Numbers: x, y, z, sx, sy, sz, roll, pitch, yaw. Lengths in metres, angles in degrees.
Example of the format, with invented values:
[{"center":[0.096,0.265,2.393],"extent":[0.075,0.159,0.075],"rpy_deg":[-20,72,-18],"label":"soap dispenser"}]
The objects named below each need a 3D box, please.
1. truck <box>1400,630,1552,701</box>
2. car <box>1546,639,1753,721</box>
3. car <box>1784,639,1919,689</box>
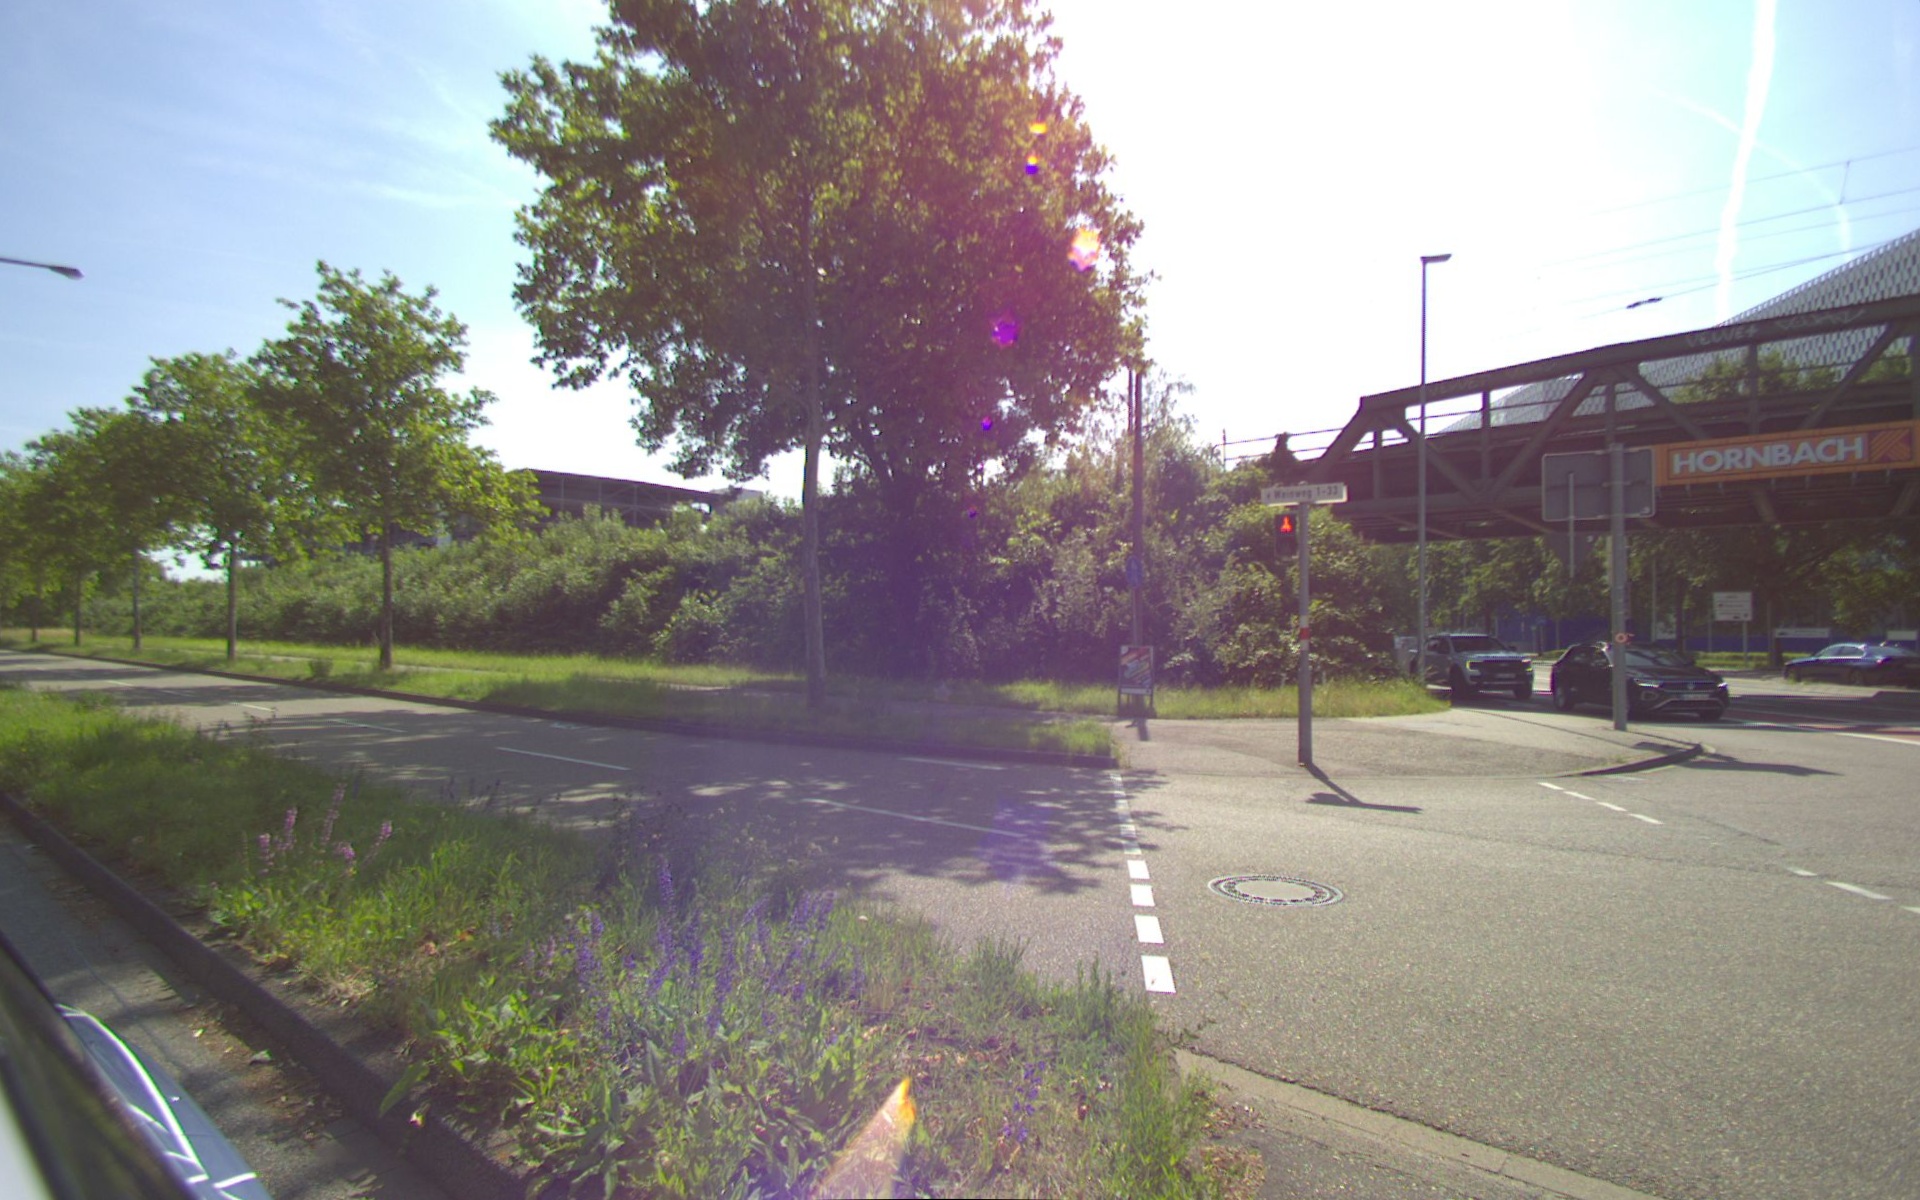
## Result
[{"center":[14.844,1.836,29.535],"extent":[2.007,1.833,5.317],"rpy_deg":[-2,-2,5],"label":"truck"},{"center":[14.259,1.600,21.233],"extent":[1.800,1.492,3.937],"rpy_deg":[-2,-2,5],"label":"car"},{"center":[27.614,1.893,30.758],"extent":[1.769,1.408,4.319],"rpy_deg":[0,-2,4],"label":"car"}]
